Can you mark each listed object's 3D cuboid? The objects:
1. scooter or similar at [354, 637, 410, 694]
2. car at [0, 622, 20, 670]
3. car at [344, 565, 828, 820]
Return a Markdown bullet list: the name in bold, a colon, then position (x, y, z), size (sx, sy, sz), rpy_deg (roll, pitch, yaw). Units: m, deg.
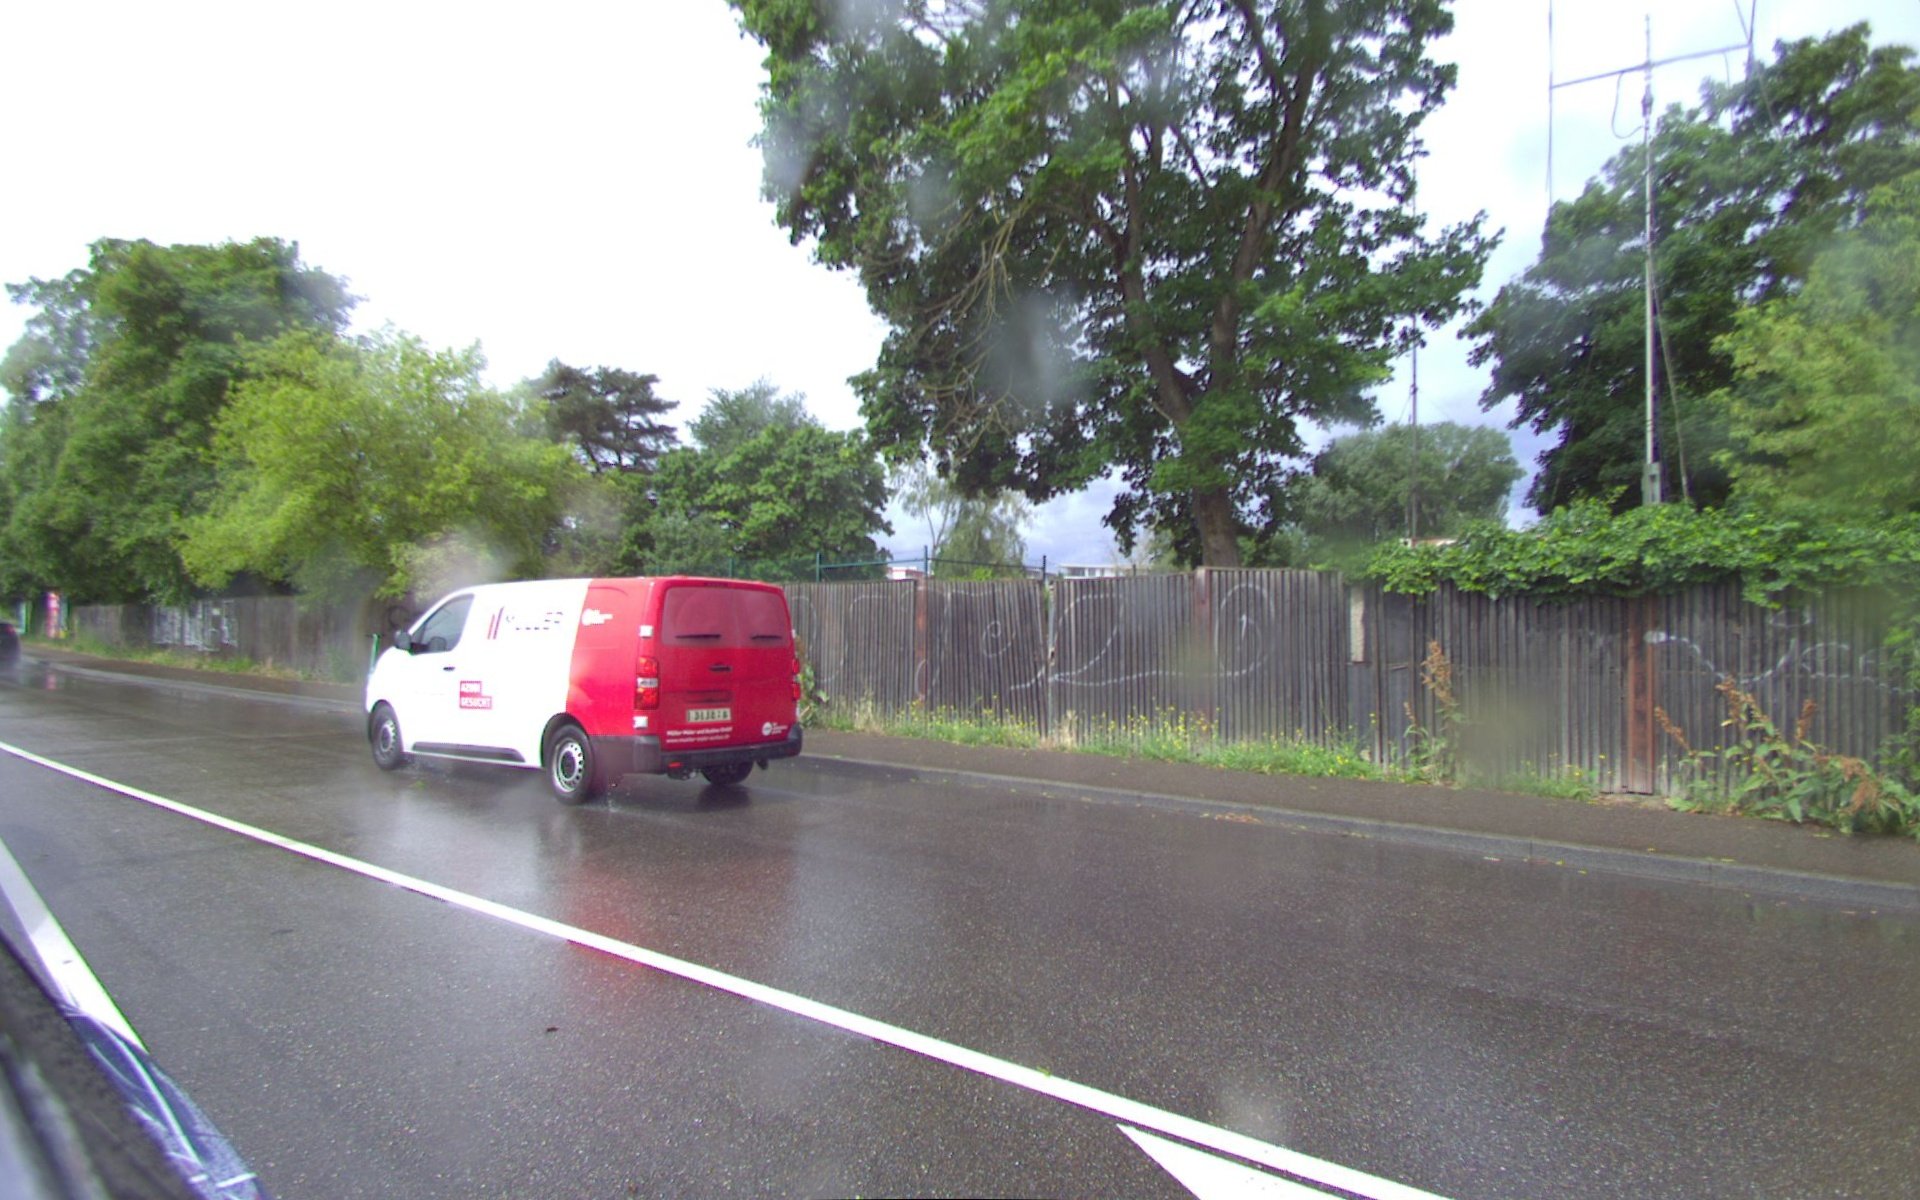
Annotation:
- **scooter or similar**: position (-12.325, 1.383, 21.568), size (1.205, 1.171, 0.557), rpy_deg (-1, -2, 35)
- **car**: position (-32.236, 1.472, 33.046), size (4.176, 1.494, 1.854), rpy_deg (0, -2, 42)
- **car**: position (-3.794, 0.751, 9.801), size (5.123, 1.890, 1.871), rpy_deg (-1, -3, 36)
